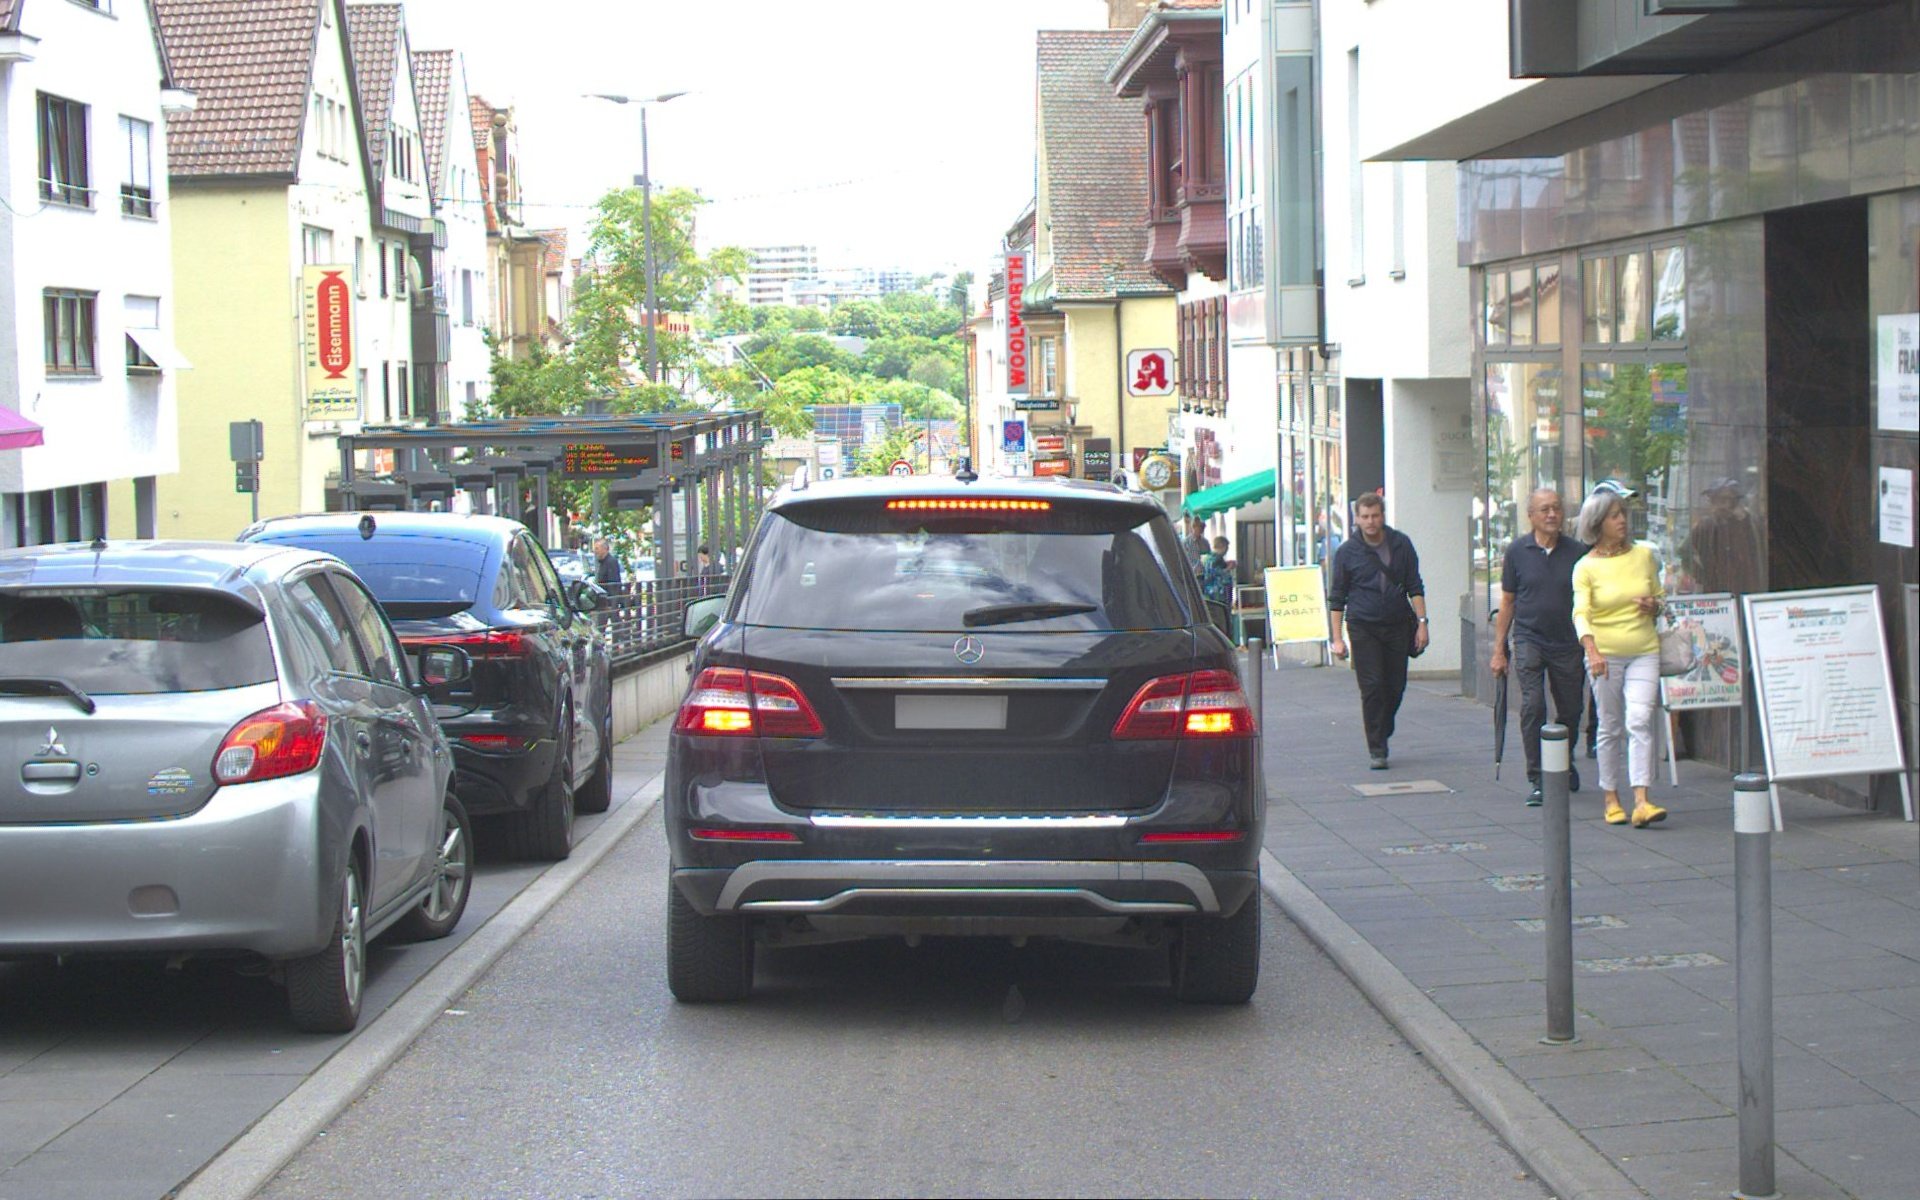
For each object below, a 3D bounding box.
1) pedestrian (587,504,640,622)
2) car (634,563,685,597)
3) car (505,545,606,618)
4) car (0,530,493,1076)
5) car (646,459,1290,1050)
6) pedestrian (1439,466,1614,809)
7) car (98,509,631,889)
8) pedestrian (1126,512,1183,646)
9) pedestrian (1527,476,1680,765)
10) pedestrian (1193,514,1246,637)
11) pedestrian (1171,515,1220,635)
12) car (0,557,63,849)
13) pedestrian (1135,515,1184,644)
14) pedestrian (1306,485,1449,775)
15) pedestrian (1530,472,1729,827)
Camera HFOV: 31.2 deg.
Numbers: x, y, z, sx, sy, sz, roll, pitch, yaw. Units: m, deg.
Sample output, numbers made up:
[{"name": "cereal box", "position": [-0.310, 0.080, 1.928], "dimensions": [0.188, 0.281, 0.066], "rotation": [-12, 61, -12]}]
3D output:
[{"name": "pedestrian", "position": [-5.008, -0.533, 49.682], "dimensions": [0.612, 1.683, 0.563], "rotation": [1, 1, 9]}, {"name": "car", "position": [-9.865, -0.672, 112.923], "dimensions": [1.388, 1.066, 3.113], "rotation": [-2, 1, 0]}, {"name": "car", "position": [-8.580, -0.411, 73.165], "dimensions": [1.689, 1.485, 3.979], "rotation": [1, 1, 0]}, {"name": "car", "position": [-2.596, 0.541, 11.480], "dimensions": [1.620, 1.527, 3.670], "rotation": [1, 1, -1]}, {"name": "car", "position": [-0.061, 0.434, 12.245], "dimensions": [1.900, 1.741, 4.001], "rotation": [1, 1, -2]}, {"name": "pedestrian", "position": [3.001, 0.188, 18.267], "dimensions": [0.711, 1.747, 0.785], "rotation": [-3, 1, -1]}, {"name": "car", "position": [-2.795, 0.399, 17.102], "dimensions": [1.956, 1.634, 4.315], "rotation": [1, 1, -1]}, {"name": "pedestrian", "position": [2.478, -0.272, 43.820], "dimensions": [0.621, 1.683, 0.566], "rotation": [1, 1, -7]}, {"name": "pedestrian", "position": [3.895, 0.116, 20.826], "dimensions": [0.662, 1.683, 0.543], "rotation": [-5, 1, -7]}, {"name": "pedestrian", "position": [3.614, -0.351, 47.985], "dimensions": [0.573, 1.683, 0.566], "rotation": [-2, 1, -7]}, {"name": "pedestrian", "position": [3.342, -0.357, 48.819], "dimensions": [0.573, 1.683, 0.566], "rotation": [1, 1, -7]}, {"name": "car", "position": [-5.712, 0.526, 16.621], "dimensions": [1.739, 1.470, 3.884], "rotation": [1, 1, 0]}, {"name": "pedestrian", "position": [2.692, -0.278, 46.453], "dimensions": [0.542, 1.720, 0.528], "rotation": [-2, 1, -7]}, {"name": "pedestrian", "position": [2.608, 0.178, 21.535], "dimensions": [0.711, 1.747, 0.787], "rotation": [-3, 1, -1]}, {"name": "pedestrian", "position": [3.201, 0.224, 16.497], "dimensions": [0.711, 1.625, 0.835], "rotation": [-3, 1, -1]}]
